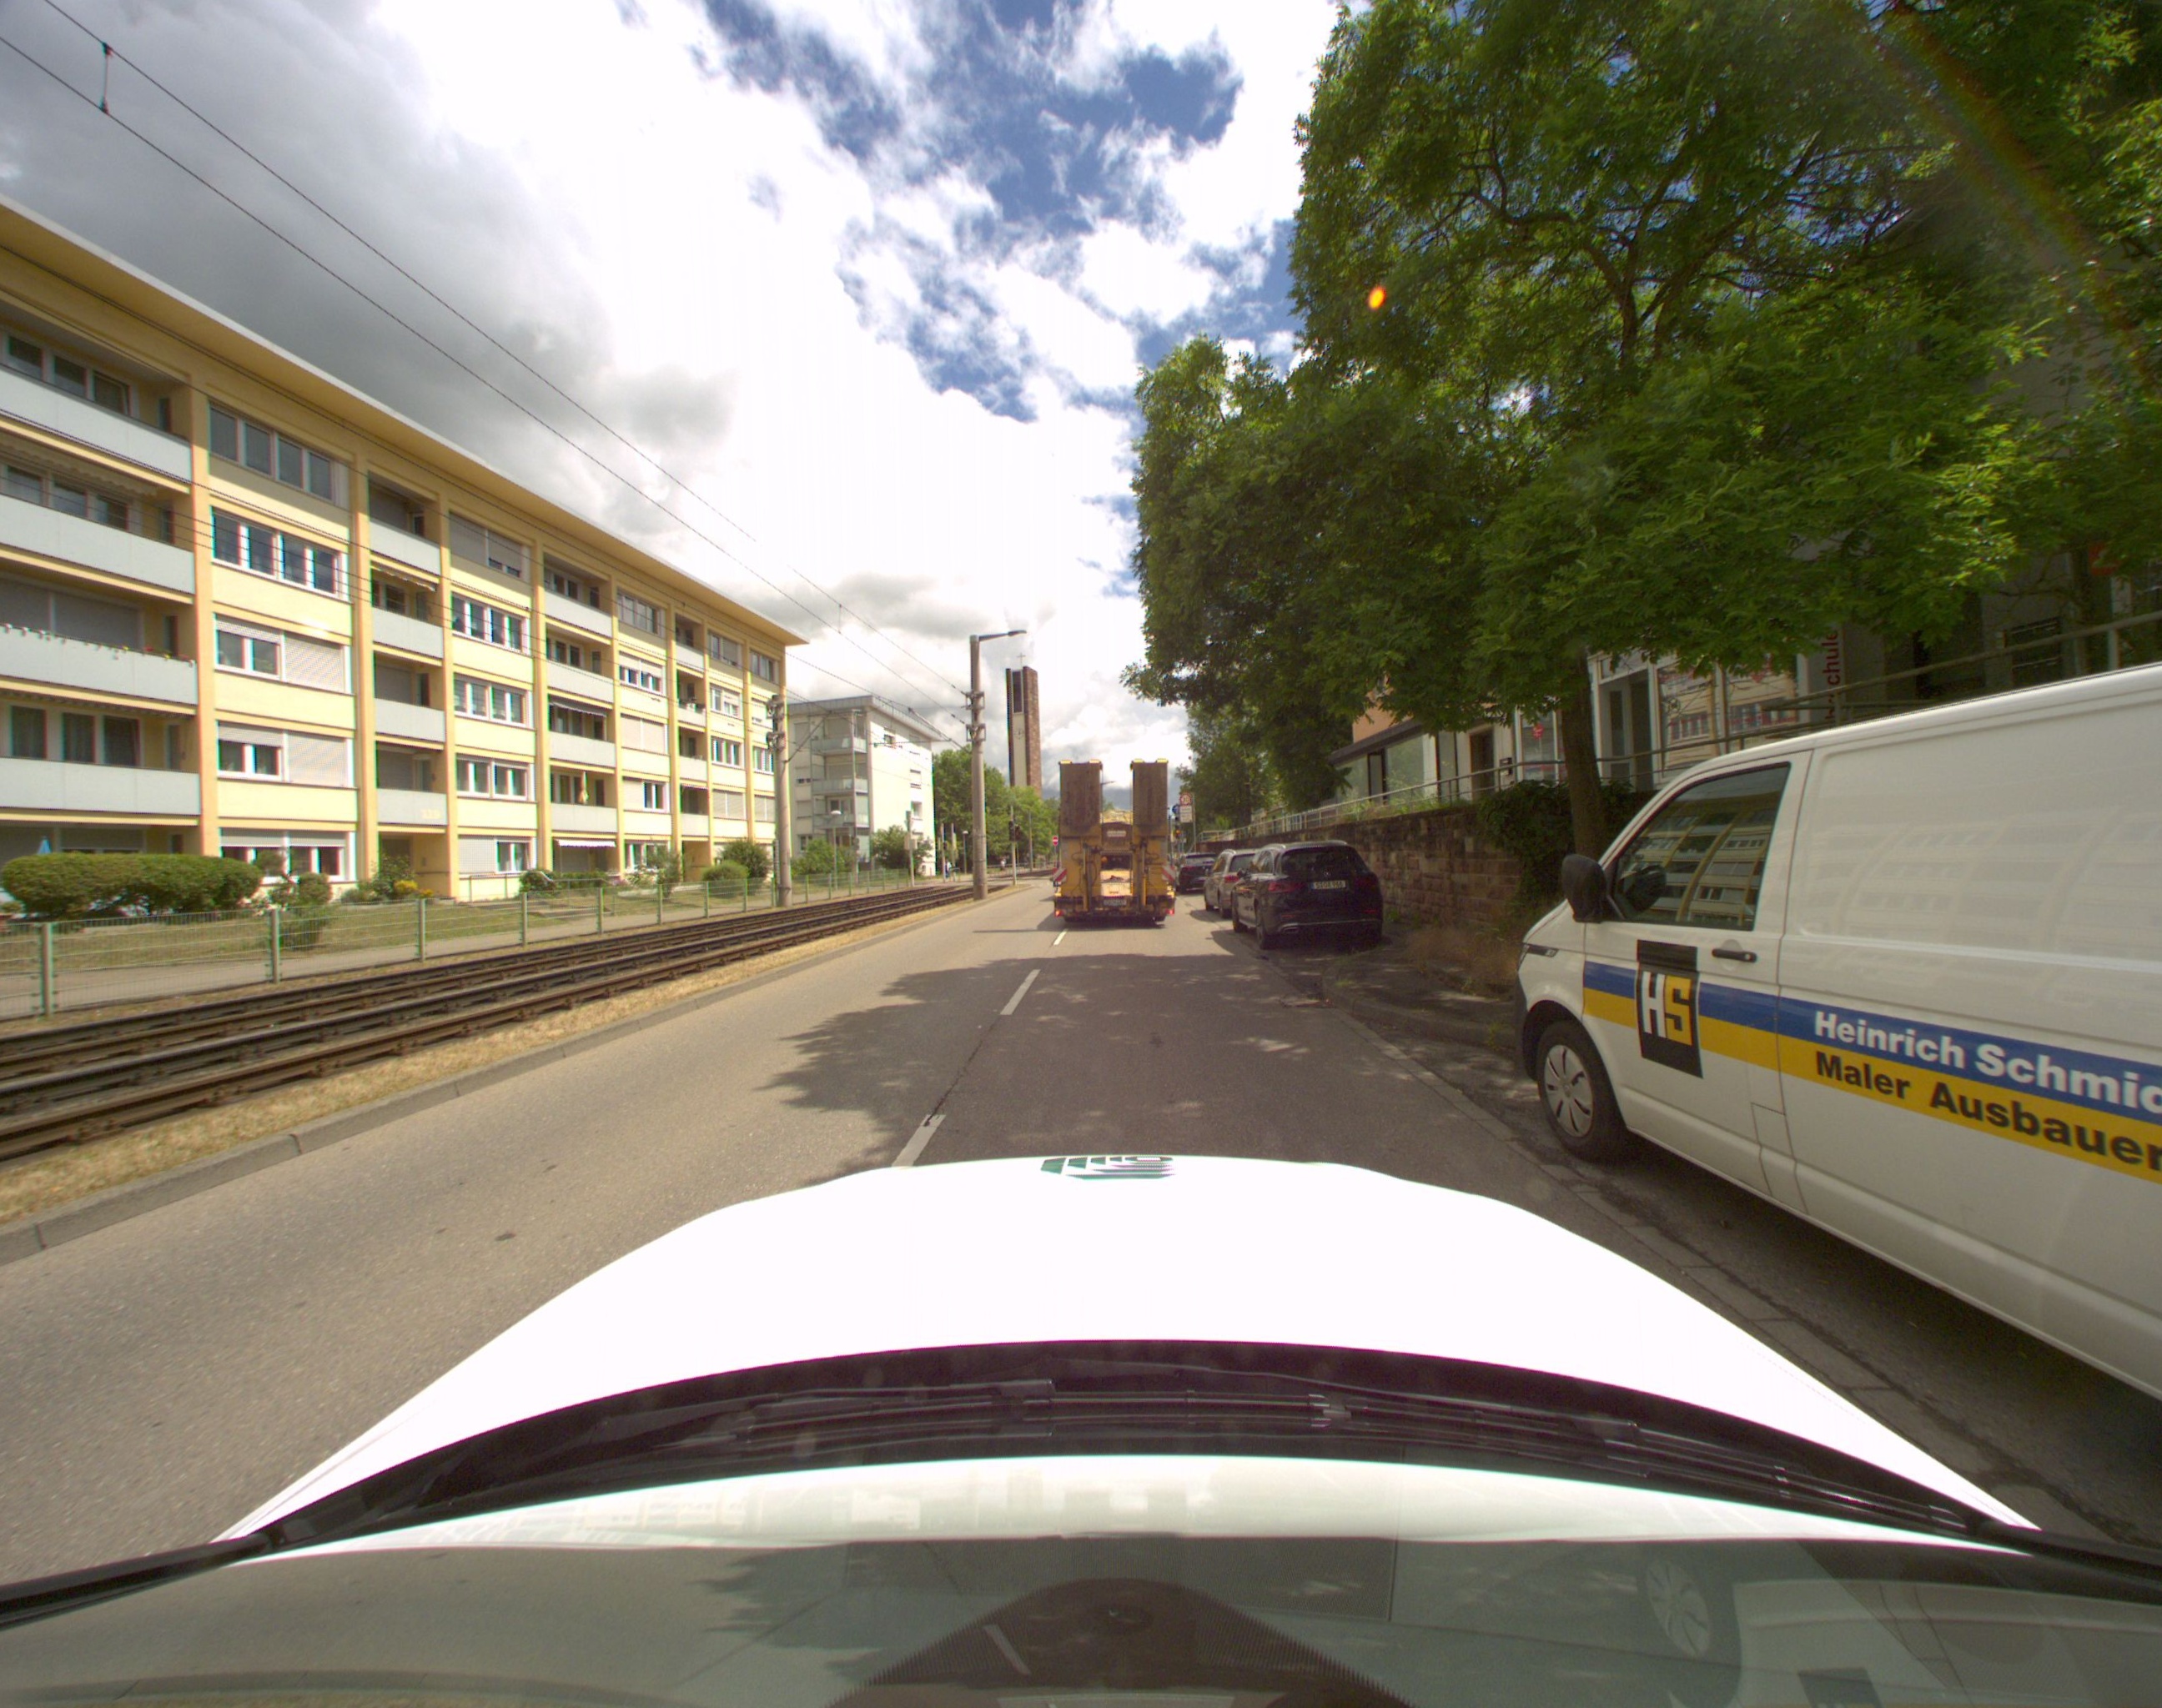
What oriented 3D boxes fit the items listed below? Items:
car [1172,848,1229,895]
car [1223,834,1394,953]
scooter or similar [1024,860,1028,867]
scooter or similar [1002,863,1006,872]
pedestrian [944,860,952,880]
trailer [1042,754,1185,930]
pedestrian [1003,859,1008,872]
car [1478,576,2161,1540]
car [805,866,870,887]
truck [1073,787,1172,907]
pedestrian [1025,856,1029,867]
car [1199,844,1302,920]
[{"bbox_3d":[4.656,0.669,32.165,1.842,1.639,4.004,-3,-1,4],"label":"car"},{"bbox_3d":[3.700,0.592,14.081,1.783,1.617,4.450,-4,0,2],"label":"car"},{"bbox_3d":[-7.351,1.284,109.375,0.503,0.971,0.646,0,-1,2],"label":"scooter or similar"},{"bbox_3d":[-8.772,1.526,93.097,0.336,1.058,0.689,-2,-1,6],"label":"scooter or similar"},{"bbox_3d":[-10.642,1.308,65.271,0.435,1.581,0.475,-2,-1,7],"label":"pedestrian"},{"bbox_3d":[0.977,-0.231,21.075,2.932,3.601,8.693,0,0,4],"label":"trailer"},{"bbox_3d":[-8.707,1.305,93.740,0.346,1.537,0.558,-2,-1,7],"label":"pedestrian"},{"bbox_3d":[3.207,0.399,2.223,1.965,1.970,5.017,-2,0,3],"label":"car"},{"bbox_3d":[-17.407,1.579,58.283,3.961,1.346,1.907,-2,-1,11],"label":"car"},{"bbox_3d":[1.418,-0.201,26.695,2.929,3.572,4.882,0,0,4],"label":"truck"},{"bbox_3d":[-7.301,1.024,110.031,0.561,1.514,0.646,0,-1,2],"label":"pedestrian"},{"bbox_3d":[4.082,0.633,20.266,1.783,1.618,4.251,-3,0,2],"label":"car"}]
